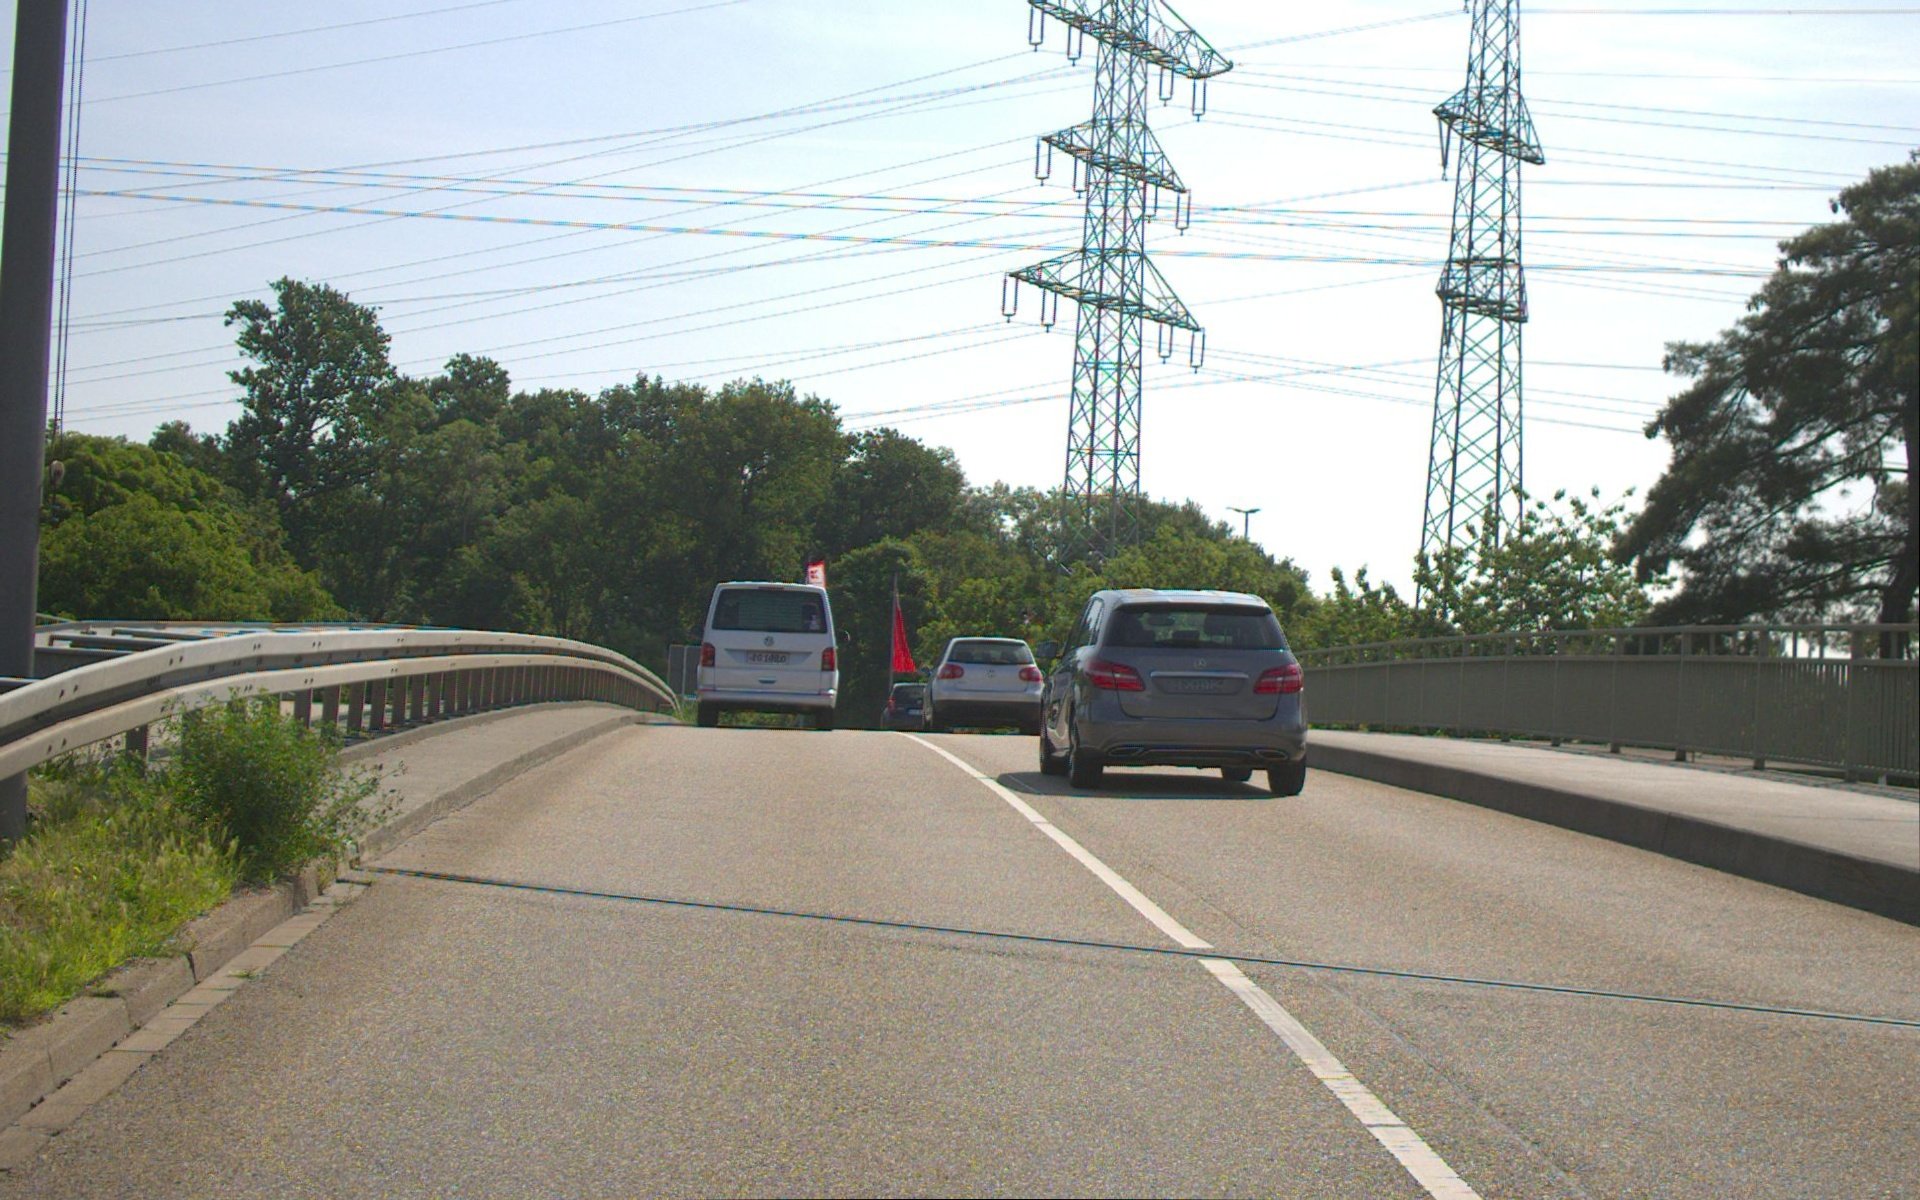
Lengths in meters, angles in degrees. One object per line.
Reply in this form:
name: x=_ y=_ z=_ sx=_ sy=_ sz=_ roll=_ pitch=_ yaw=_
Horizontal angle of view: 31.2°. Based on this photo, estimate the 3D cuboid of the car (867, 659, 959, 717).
car: x=-1.132 y=2.134 z=84.155 sx=1.774 sy=1.327 sz=3.739 roll=1 pitch=0 yaw=7

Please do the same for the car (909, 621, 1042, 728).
car: x=0.199 y=1.152 z=52.720 sx=1.856 sy=1.524 sz=4.144 roll=1 pitch=-2 yaw=-2

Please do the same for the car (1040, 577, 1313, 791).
car: x=1.640 y=0.612 z=27.364 sx=1.856 sy=1.524 sz=4.144 roll=2 pitch=0 yaw=0

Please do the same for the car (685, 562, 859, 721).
car: x=-2.536 y=0.541 z=47.224 sx=2.039 sy=2.007 sz=4.000 roll=2 pitch=0 yaw=1
